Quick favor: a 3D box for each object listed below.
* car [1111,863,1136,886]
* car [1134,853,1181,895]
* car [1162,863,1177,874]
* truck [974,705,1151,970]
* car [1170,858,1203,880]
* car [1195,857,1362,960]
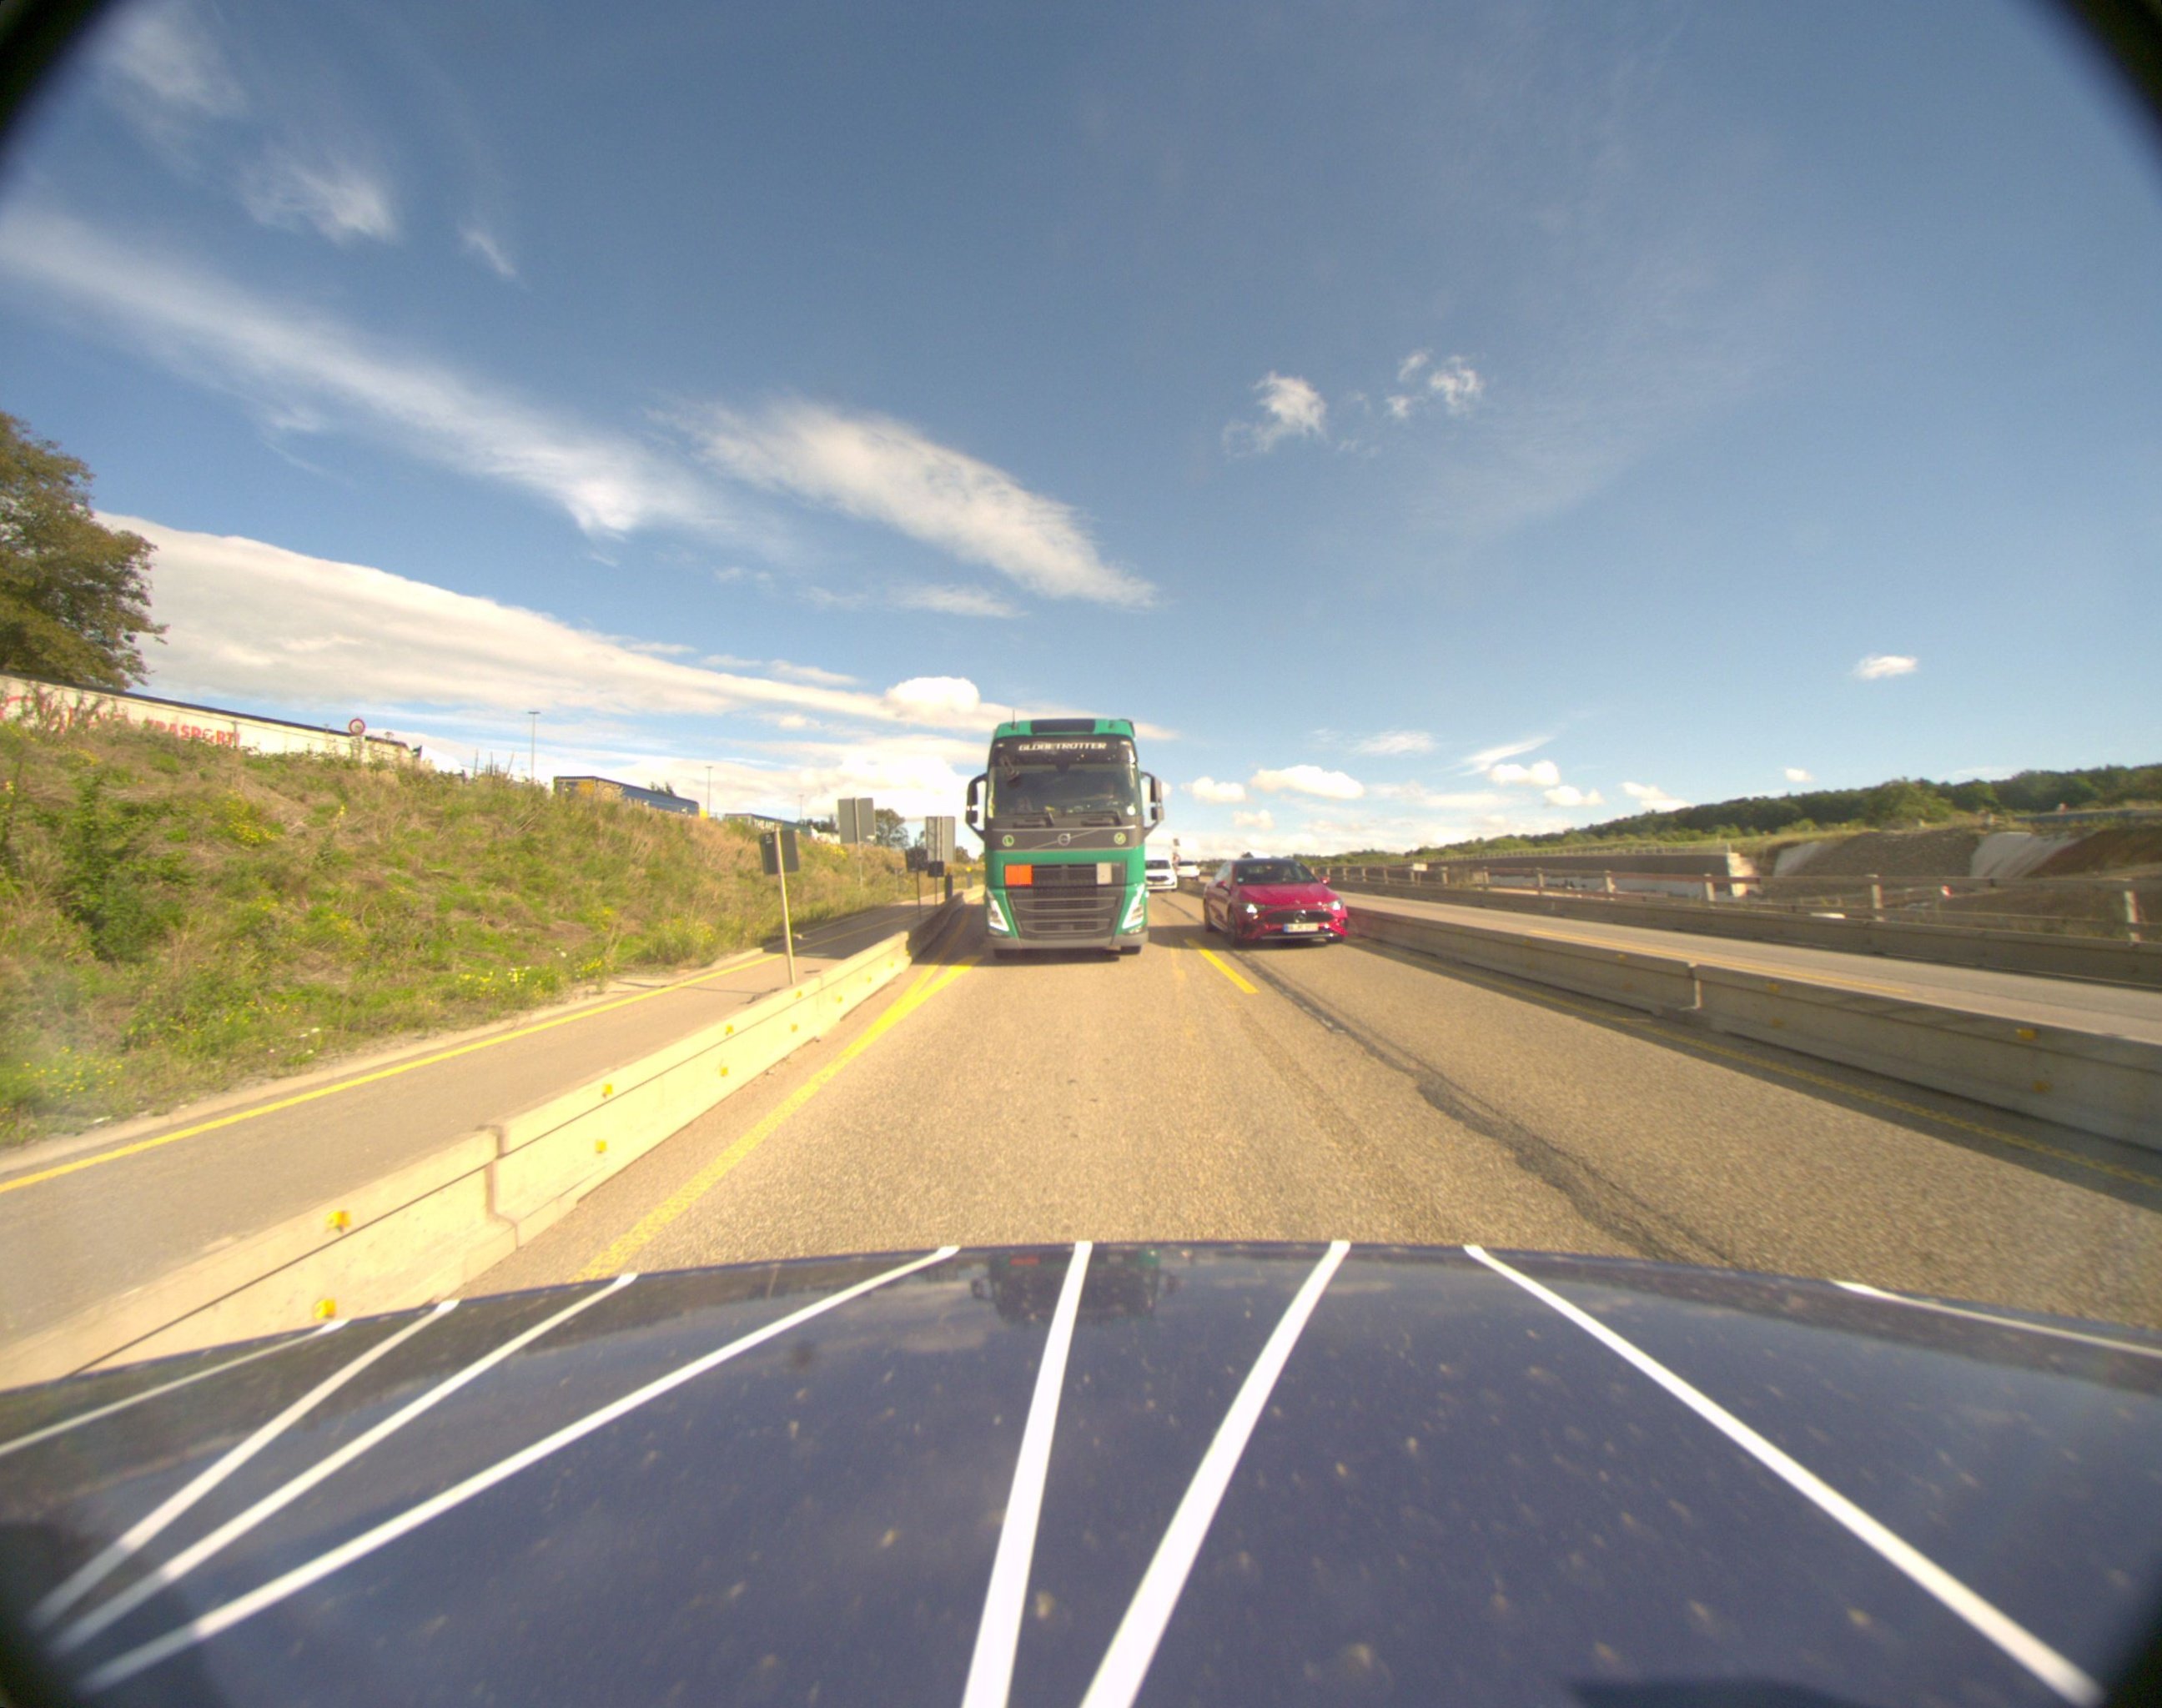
[{"bbox_3d":[3.142,1.509,55.949,1.719,1.499,4.000,-2,0,3],"label":"car"},{"bbox_3d":[3.649,0.934,37.071,1.827,1.813,4.456,-3,0,1],"label":"car"},{"bbox_3d":[12.897,2.121,111.285,1.827,1.483,4.000,0,0,2],"label":"car"},{"bbox_3d":[-0.226,-0.257,15.512,2.546,3.899,8.279,-2,0,1],"label":"truck"},{"bbox_3d":[7.529,1.050,54.661,1.827,1.483,4.000,0,0,0],"label":"car"},{"bbox_3d":[3.370,0.850,13.955,1.827,1.483,4.684,-3,0,1],"label":"car"}]
